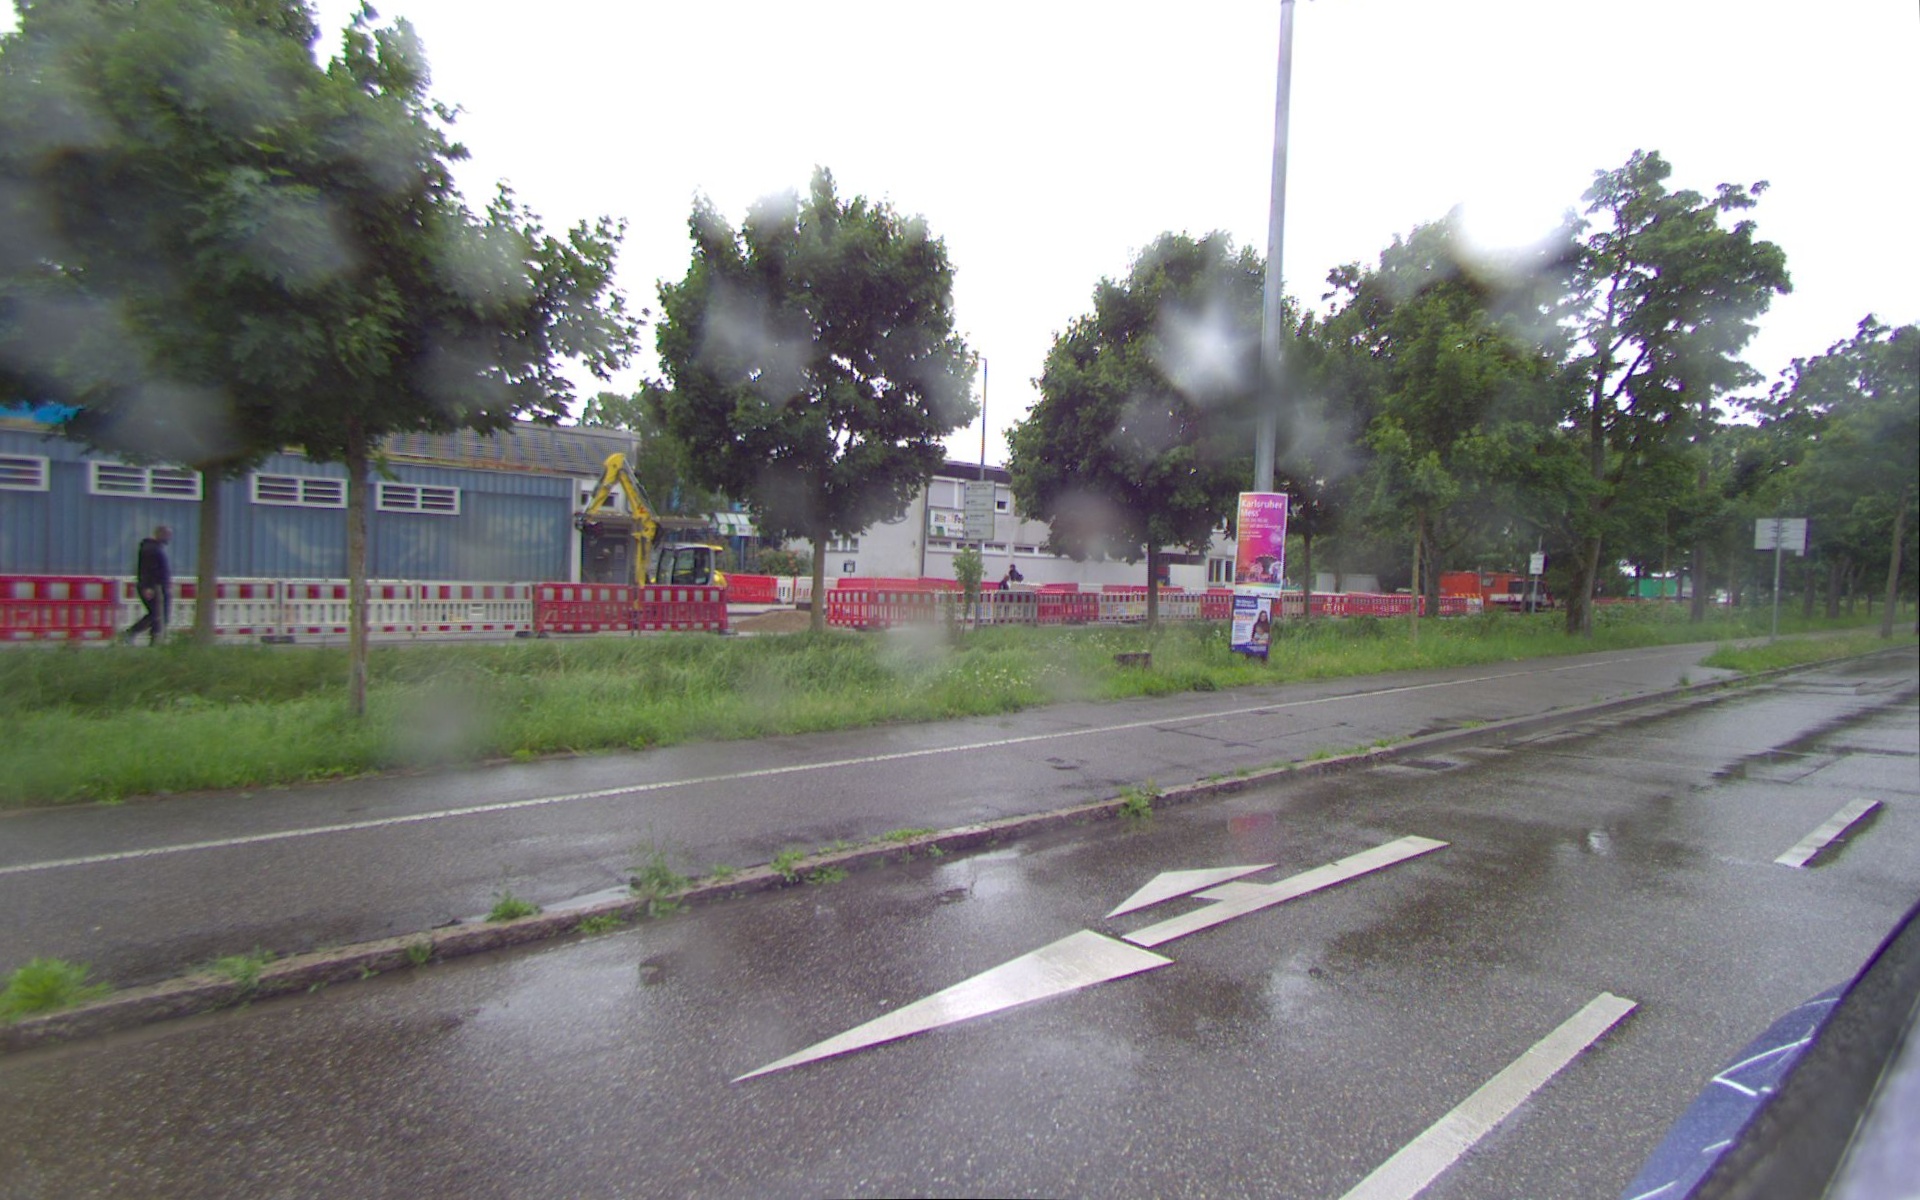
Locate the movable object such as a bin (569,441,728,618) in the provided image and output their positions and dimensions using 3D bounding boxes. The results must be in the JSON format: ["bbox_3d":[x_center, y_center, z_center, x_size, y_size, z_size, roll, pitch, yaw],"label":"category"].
[{"bbox_3d":[-8.388,-1.810,27.423,3.841,4.482,1.556,0,0,-41],"label":"movable object such as a bin"}]

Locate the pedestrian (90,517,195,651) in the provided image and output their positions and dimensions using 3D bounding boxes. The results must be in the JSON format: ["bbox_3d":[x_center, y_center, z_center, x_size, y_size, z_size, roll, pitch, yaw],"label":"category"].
[{"bbox_3d":[-12.515,-0.247,15.499,1.192,1.960,0.813,0,0,-43],"label":"pedestrian"}]

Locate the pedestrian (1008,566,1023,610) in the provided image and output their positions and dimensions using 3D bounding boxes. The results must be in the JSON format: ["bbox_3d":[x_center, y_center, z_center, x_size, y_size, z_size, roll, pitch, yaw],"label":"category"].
[{"bbox_3d":[2.355,-0.532,43.202,0.487,1.864,0.363,0,1,-41],"label":"pedestrian"}]

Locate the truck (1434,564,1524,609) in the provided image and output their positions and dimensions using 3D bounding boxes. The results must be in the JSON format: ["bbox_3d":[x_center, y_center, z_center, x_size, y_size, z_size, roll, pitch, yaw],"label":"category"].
[{"bbox_3d":[35.759,-0.922,69.581,8.603,2.935,2.807,-1,0,-43],"label":"truck"}]
